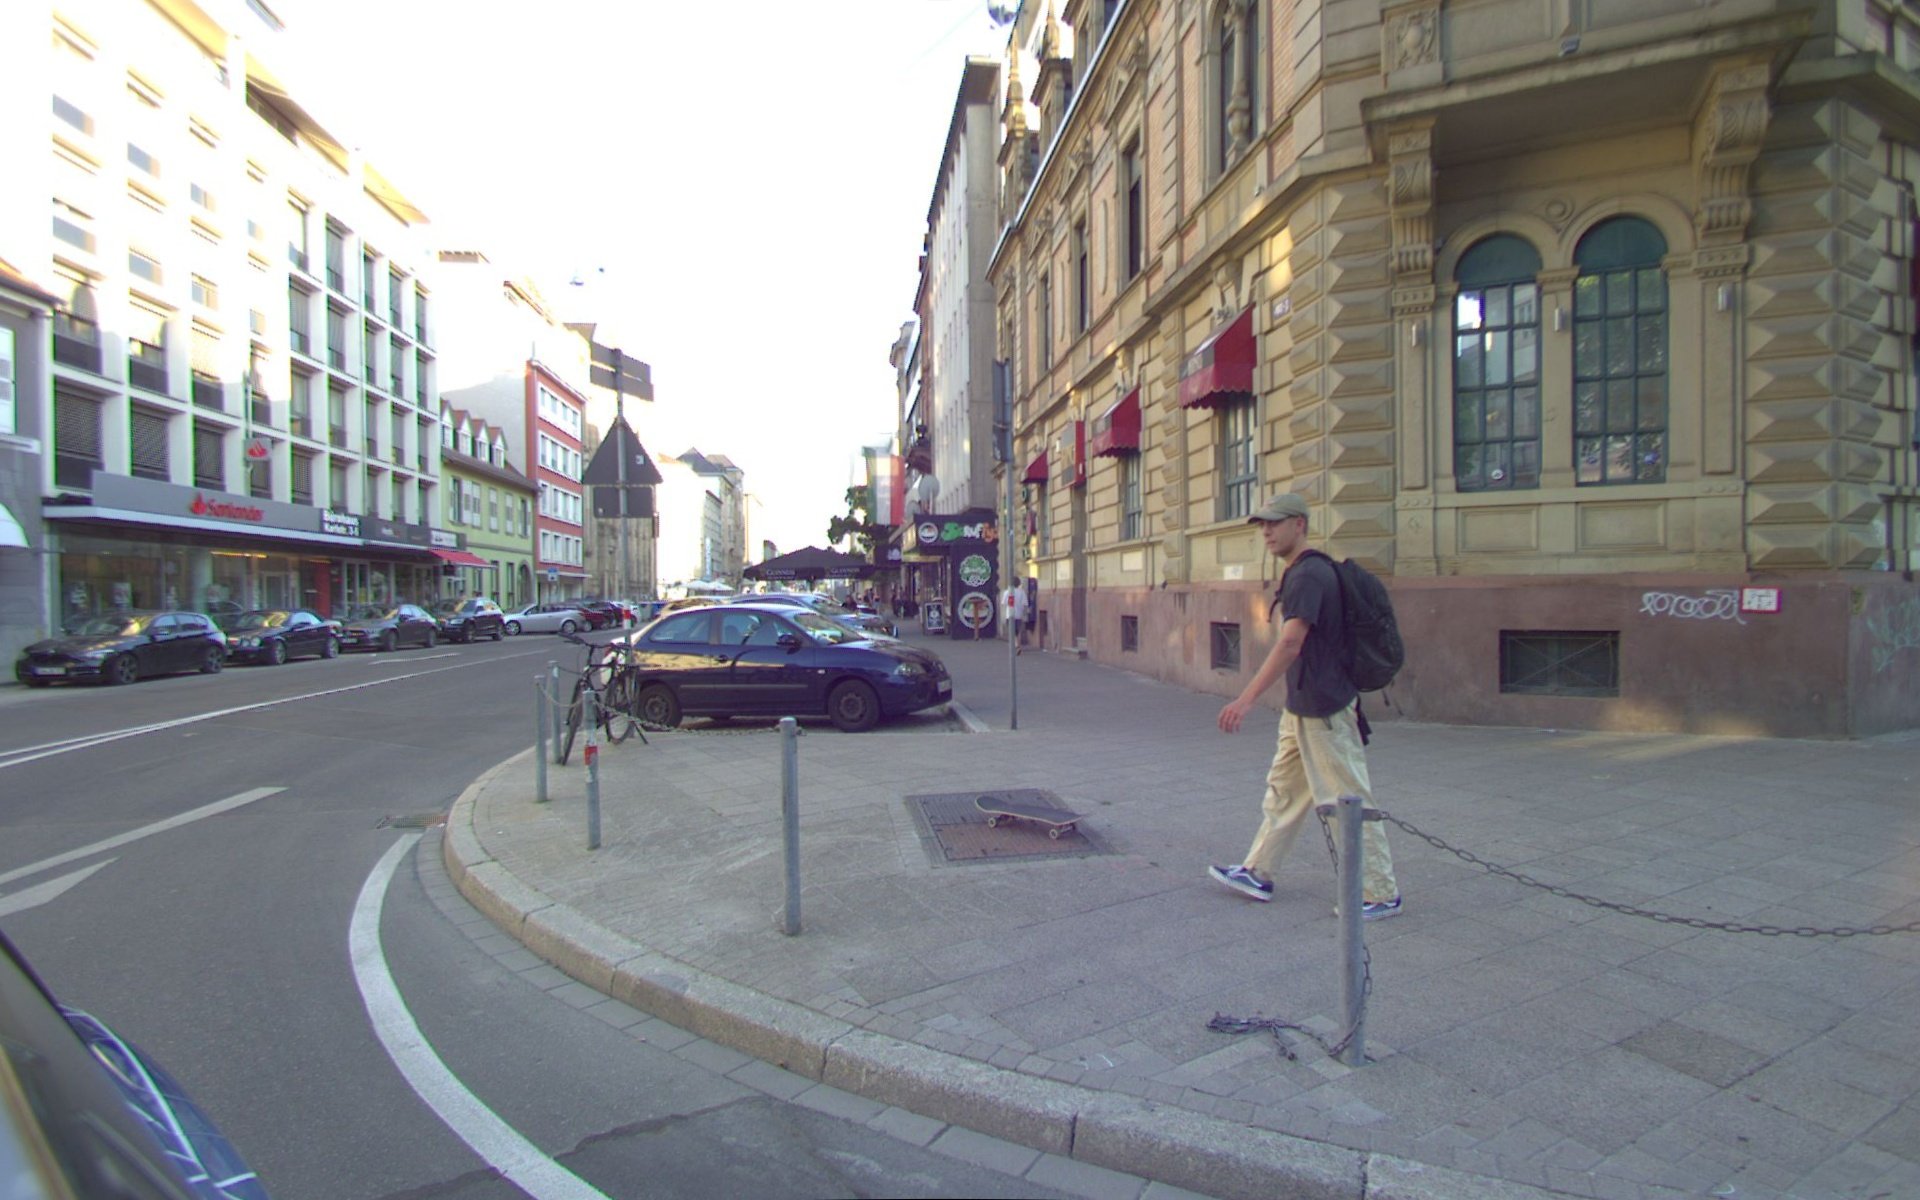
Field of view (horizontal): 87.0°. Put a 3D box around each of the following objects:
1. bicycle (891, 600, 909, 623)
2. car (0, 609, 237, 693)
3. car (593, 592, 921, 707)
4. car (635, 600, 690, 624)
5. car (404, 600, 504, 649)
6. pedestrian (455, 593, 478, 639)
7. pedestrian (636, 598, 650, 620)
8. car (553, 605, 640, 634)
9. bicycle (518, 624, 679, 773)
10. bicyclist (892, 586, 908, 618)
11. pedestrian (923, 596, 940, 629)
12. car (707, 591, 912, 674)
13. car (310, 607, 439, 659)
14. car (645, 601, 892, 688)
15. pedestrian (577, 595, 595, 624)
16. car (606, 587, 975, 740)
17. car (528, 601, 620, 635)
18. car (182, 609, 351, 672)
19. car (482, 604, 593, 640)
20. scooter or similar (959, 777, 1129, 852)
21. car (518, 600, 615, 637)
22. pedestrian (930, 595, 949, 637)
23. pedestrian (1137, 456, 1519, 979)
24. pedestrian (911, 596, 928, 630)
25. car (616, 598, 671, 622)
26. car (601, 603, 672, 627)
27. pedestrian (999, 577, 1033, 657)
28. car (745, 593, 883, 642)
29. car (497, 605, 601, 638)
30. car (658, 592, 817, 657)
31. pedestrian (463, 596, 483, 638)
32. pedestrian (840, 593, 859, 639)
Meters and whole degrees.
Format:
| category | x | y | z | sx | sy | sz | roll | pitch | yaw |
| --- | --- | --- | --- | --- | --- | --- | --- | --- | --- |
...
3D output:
| category | x | y | z | sx | sy | sz | roll | pitch | yaw |
| --- | --- | --- | --- | --- | --- | --- | --- | --- | --- |
| bicycle | -3.072 | 0.568 | 51.629 | 0.756 | 1.123 | 2.182 | -2 | 0 | -7 |
| car | -16.873 | 0.946 | 20.532 | 1.721 | 1.458 | 4.256 | -1 | 0 | -6 |
| car | -3.052 | 0.742 | 15.168 | 4.597 | 1.523 | 1.756 | -3 | 0 | 22 |
| car | -22.800 | 0.933 | 77.572 | 3.772 | 1.766 | 1.759 | -1 | 0 | -31 |
| car | -18.398 | 0.842 | 37.016 | 1.806 | 1.671 | 4.367 | 0 | 0 | -5 |
| pedestrian | -22.399 | 0.713 | 45.953 | 0.751 | 2.083 | 0.720 | -1 | 0 | -8 |
| pedestrian | -26.464 | 0.785 | 84.587 | 0.838 | 1.813 | 1.013 | -1 | 0 | -1 |
| car | -20.008 | 1.055 | 55.776 | 4.159 | 1.484 | 1.758 | -1 | 0 | -36 |
| bicycle | -3.229 | 0.834 | 9.248 | 0.718 | 1.134 | 1.802 | -4 | 0 | 2 |
| bicyclist | -3.063 | 0.110 | 51.583 | 0.756 | 1.571 | 0.814 | -2 | 0 | -7 |
| pedestrian | -1.087 | 0.467 | 38.890 | 0.567 | 1.254 | 0.676 | -1 | -1 | -7 |
| car | -3.204 | 0.668 | 21.683 | 4.019 | 1.669 | 1.781 | 0 | -1 | 19 |
| car | -18.078 | 0.962 | 31.499 | 1.721 | 1.457 | 4.564 | -1 | 0 | -5 |
| car | -3.515 | 0.774 | 18.631 | 4.219 | 1.458 | 1.700 | 0 | -1 | 20 |
| pedestrian | -25.709 | 0.657 | 69.550 | 0.838 | 1.958 | 1.013 | -1 | 0 | -1 |
| car | -1.934 | 0.725 | 11.796 | 3.830 | 1.472 | 1.731 | -4 | -1 | 17 |
| car | -20.099 | 0.921 | 52.816 | 4.159 | 1.629 | 1.758 | -1 | 0 | -36 |
| car | -17.543 | 0.969 | 25.891 | 1.720 | 1.398 | 4.509 | -1 | 0 | -8 |
| car | -18.648 | 0.932 | 44.758 | 1.755 | 1.450 | 4.167 | -1 | 0 | 44 |
| scooter or similar | 0.445 | 1.160 | 5.554 | 0.412 | 0.208 | 0.883 | -3 | 1 | -42 |
| car | -19.510 | 0.891 | 50.261 | 4.162 | 1.689 | 1.757 | -1 | 0 | -40 |
| pedestrian | -0.671 | 0.512 | 32.827 | 0.565 | 1.318 | 0.576 | -1 | 0 | -6 |
| pedestrian | 1.448 | 0.394 | 4.032 | 1.259 | 1.752 | 0.844 | -1 | 2 | 24 |
| pedestrian | -1.486 | 0.471 | 37.313 | 0.567 | 1.254 | 0.676 | -1 | -1 | -7 |
| car | -27.097 | 0.842 | 86.614 | 4.156 | 1.896 | 1.759 | -1 | 0 | -31 |
| car | -21.555 | 1.006 | 67.523 | 4.159 | 1.484 | 1.758 | -1 | 0 | -36 |
| pedestrian | 1.163 | 0.348 | 21.124 | 0.569 | 1.621 | 0.522 | -2 | 0 | -5 |
| car | -5.483 | 0.655 | 37.981 | 4.807 | 1.746 | 1.895 | -1 | 0 | 21 |
| car | -19.248 | 0.988 | 47.506 | 4.162 | 1.450 | 1.757 | -1 | 0 | -40 |
| car | -6.295 | 0.676 | 28.766 | 4.014 | 1.641 | 1.844 | -2 | 0 | 15 |
| pedestrian | -22.169 | 0.766 | 46.072 | 0.603 | 1.901 | 0.720 | -1 | 0 | -8 |
| pedestrian | -3.464 | 0.494 | 31.838 | 0.567 | 1.427 | 0.676 | -1 | -1 | -7 |
